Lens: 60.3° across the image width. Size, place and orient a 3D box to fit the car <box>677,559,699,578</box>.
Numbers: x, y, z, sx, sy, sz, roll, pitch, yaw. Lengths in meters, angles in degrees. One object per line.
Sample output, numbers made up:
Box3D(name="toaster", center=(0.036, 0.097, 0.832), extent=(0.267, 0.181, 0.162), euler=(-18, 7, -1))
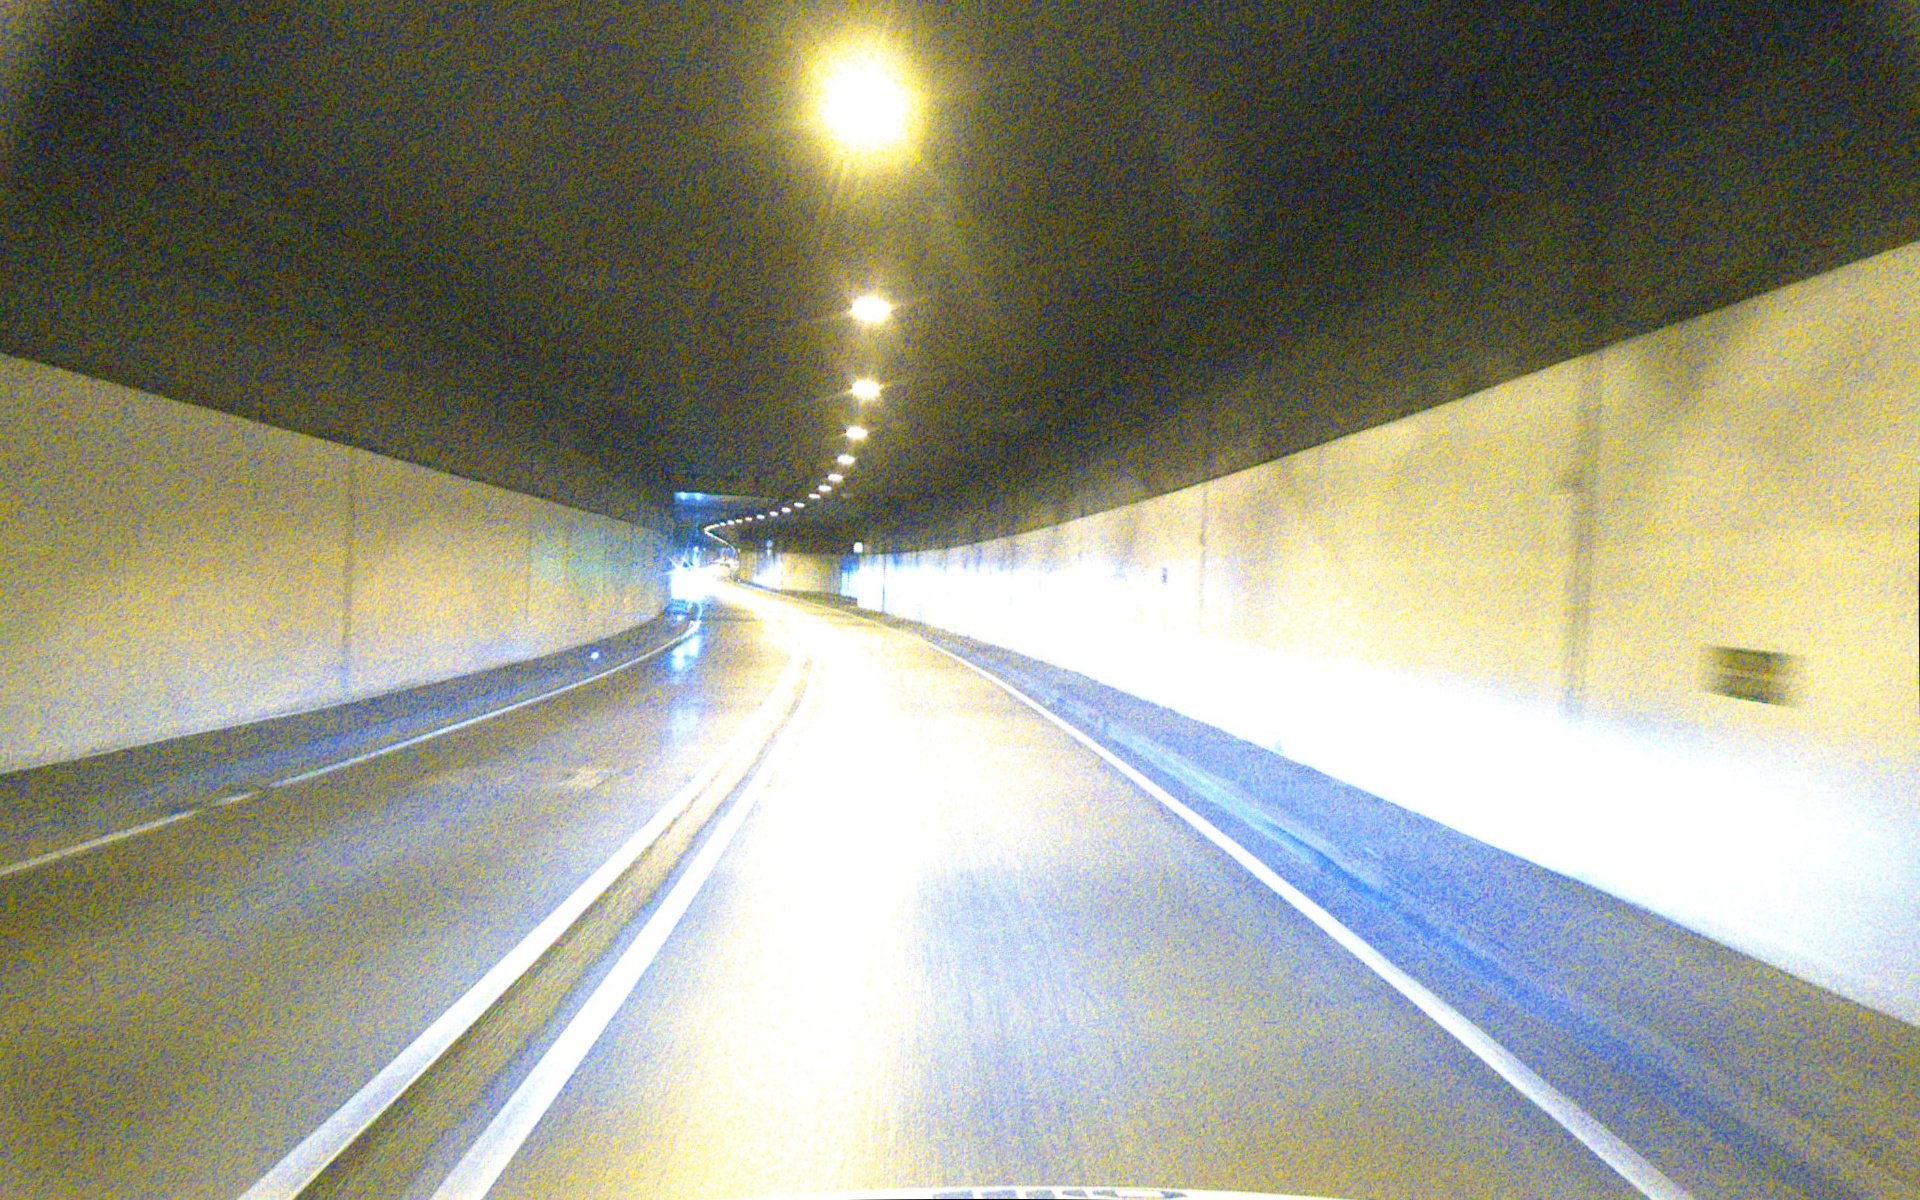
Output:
Box3D(name="car", center=(-25.672, -2.973, 156.064), extent=(1.957, 1.624, 3.990), euler=(2, -1, -10))
